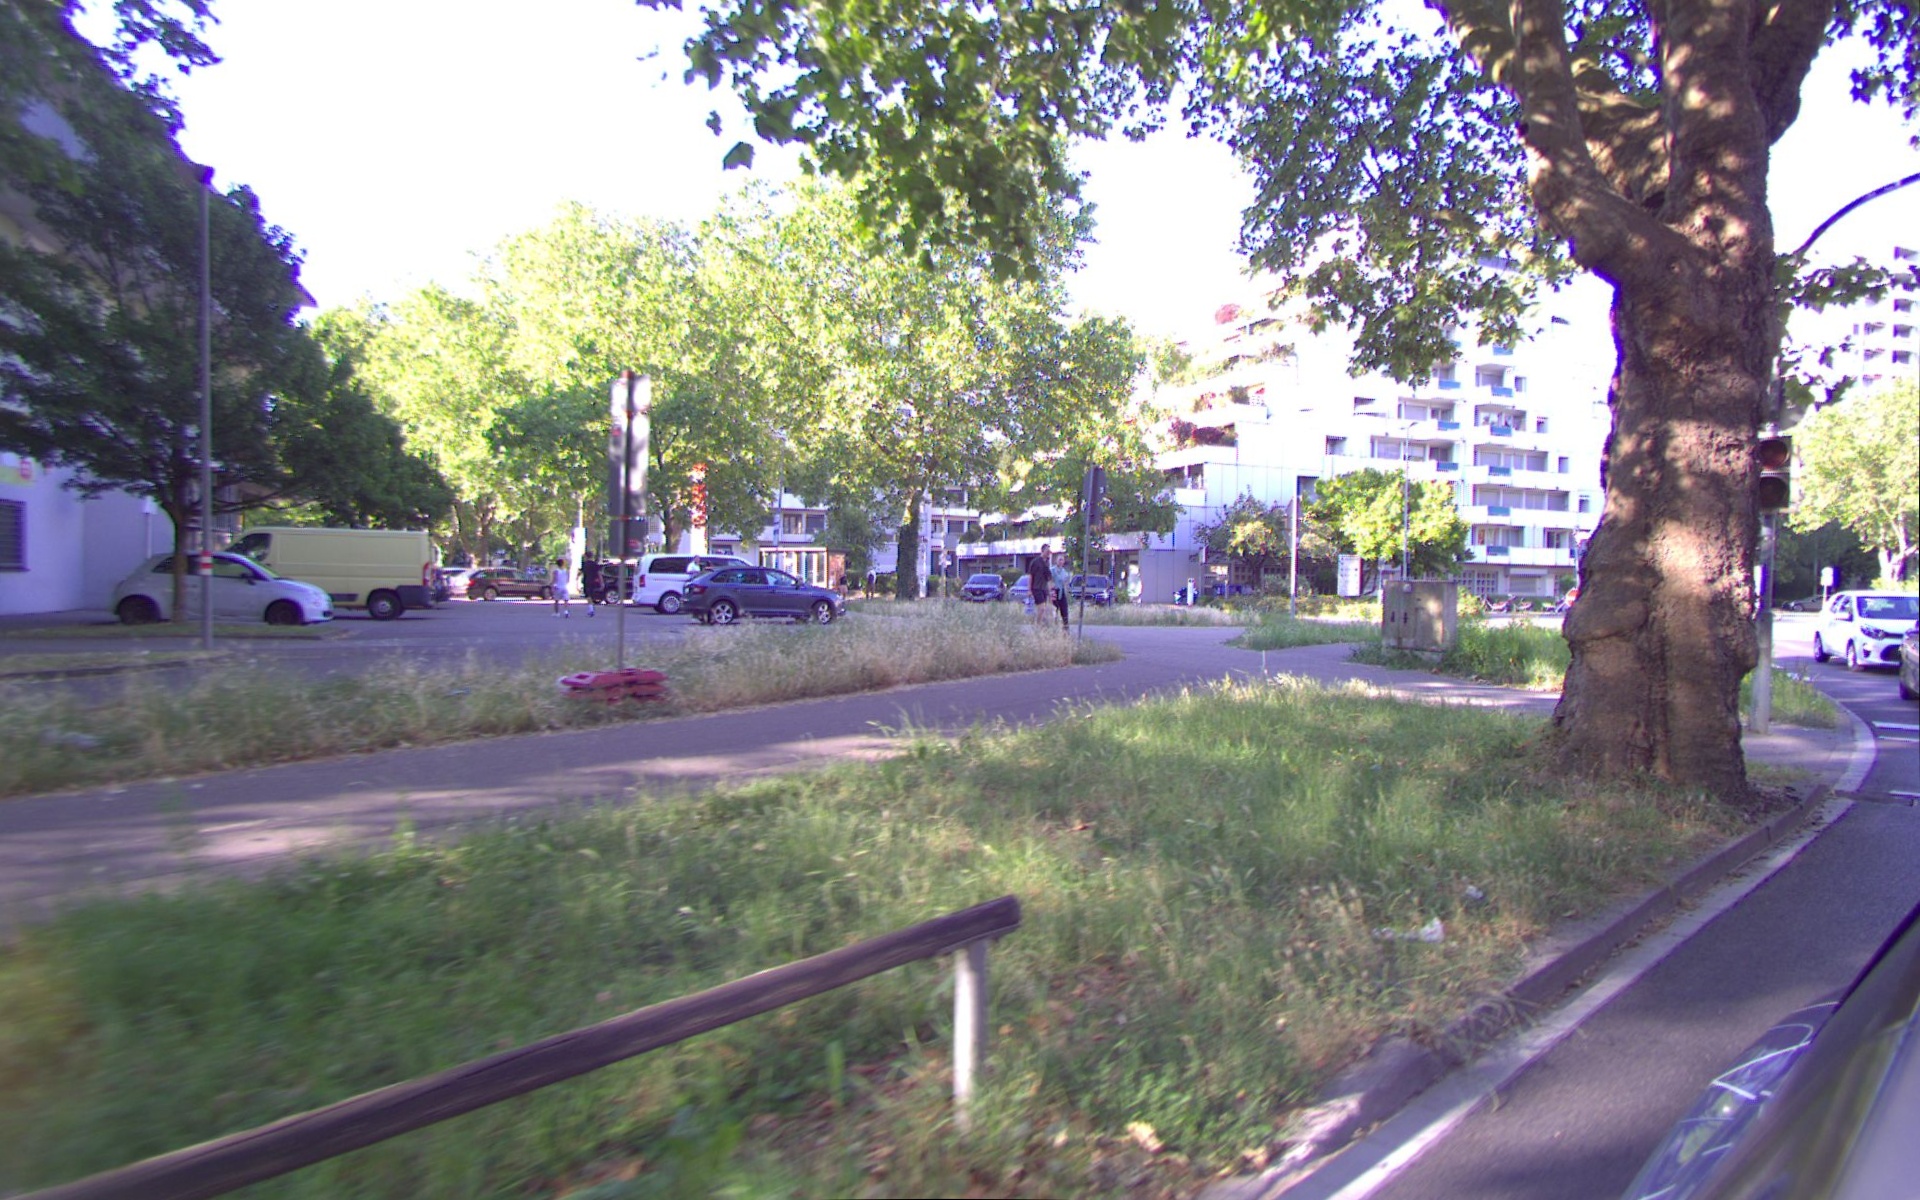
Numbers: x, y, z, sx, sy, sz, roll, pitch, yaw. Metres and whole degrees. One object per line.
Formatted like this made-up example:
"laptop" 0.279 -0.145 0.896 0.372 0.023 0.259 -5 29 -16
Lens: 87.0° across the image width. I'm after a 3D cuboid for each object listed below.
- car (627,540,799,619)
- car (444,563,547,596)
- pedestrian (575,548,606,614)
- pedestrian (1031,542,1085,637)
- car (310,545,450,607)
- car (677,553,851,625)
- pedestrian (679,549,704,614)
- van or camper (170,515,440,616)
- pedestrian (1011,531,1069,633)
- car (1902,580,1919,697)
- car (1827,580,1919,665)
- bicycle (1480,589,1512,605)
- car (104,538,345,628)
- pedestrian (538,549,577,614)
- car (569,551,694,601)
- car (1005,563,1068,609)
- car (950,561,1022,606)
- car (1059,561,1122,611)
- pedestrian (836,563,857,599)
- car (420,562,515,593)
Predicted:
"car" -7.918 -0.624 32.477 4.947 2.123 2.005 4 0 -25
"car" -21.269 -0.938 46.447 1.860 1.442 3.928 2 2 42
"pedestrian" -10.354 -0.537 28.380 0.672 1.832 0.966 0 1 -28
"pedestrian" 2.029 -0.228 20.892 0.781 1.903 0.793 2 1 37
"car" -18.066 -0.737 31.707 3.601 1.654 1.581 4 0 -25
"car" -4.940 -0.271 25.630 3.906 1.542 1.678 4 0 -30
"pedestrian" -7.495 -0.528 28.227 0.521 1.773 0.561 -1 2 -30
"van or camper" -15.862 -0.792 24.946 5.258 2.275 2.270 0 1 -23
"pedestrian" 1.585 -0.364 19.982 0.833 1.956 0.772 2 1 35
"car" 13.307 0.518 12.636 1.836 1.565 4.462 0 0 38
"car" 17.899 0.394 19.252 3.474 1.471 1.653 0 2 -42
"bicycle" 30.946 -0.166 58.427 1.666 0.848 0.465 1 1 -6
"car" -14.241 -0.307 19.851 3.484 1.473 1.679 4 0 -25
"pedestrian" -10.980 -0.507 27.594 0.930 1.719 0.885 0 1 -24
"car" -13.886 -0.989 42.914 1.996 1.798 4.558 3 0 44
"car" 3.152 -0.531 40.779 1.801 1.607 4.351 4 0 13
"car" 1.157 -0.672 42.888 1.850 1.659 3.973 3 0 19
"car" 5.092 -0.480 38.995 1.910 1.680 4.458 4 0 13
"pedestrian" -5.362 -0.904 47.721 0.739 1.682 0.623 2 1 33
"car" -24.876 -1.126 51.210 1.860 1.484 3.928 2 2 42
